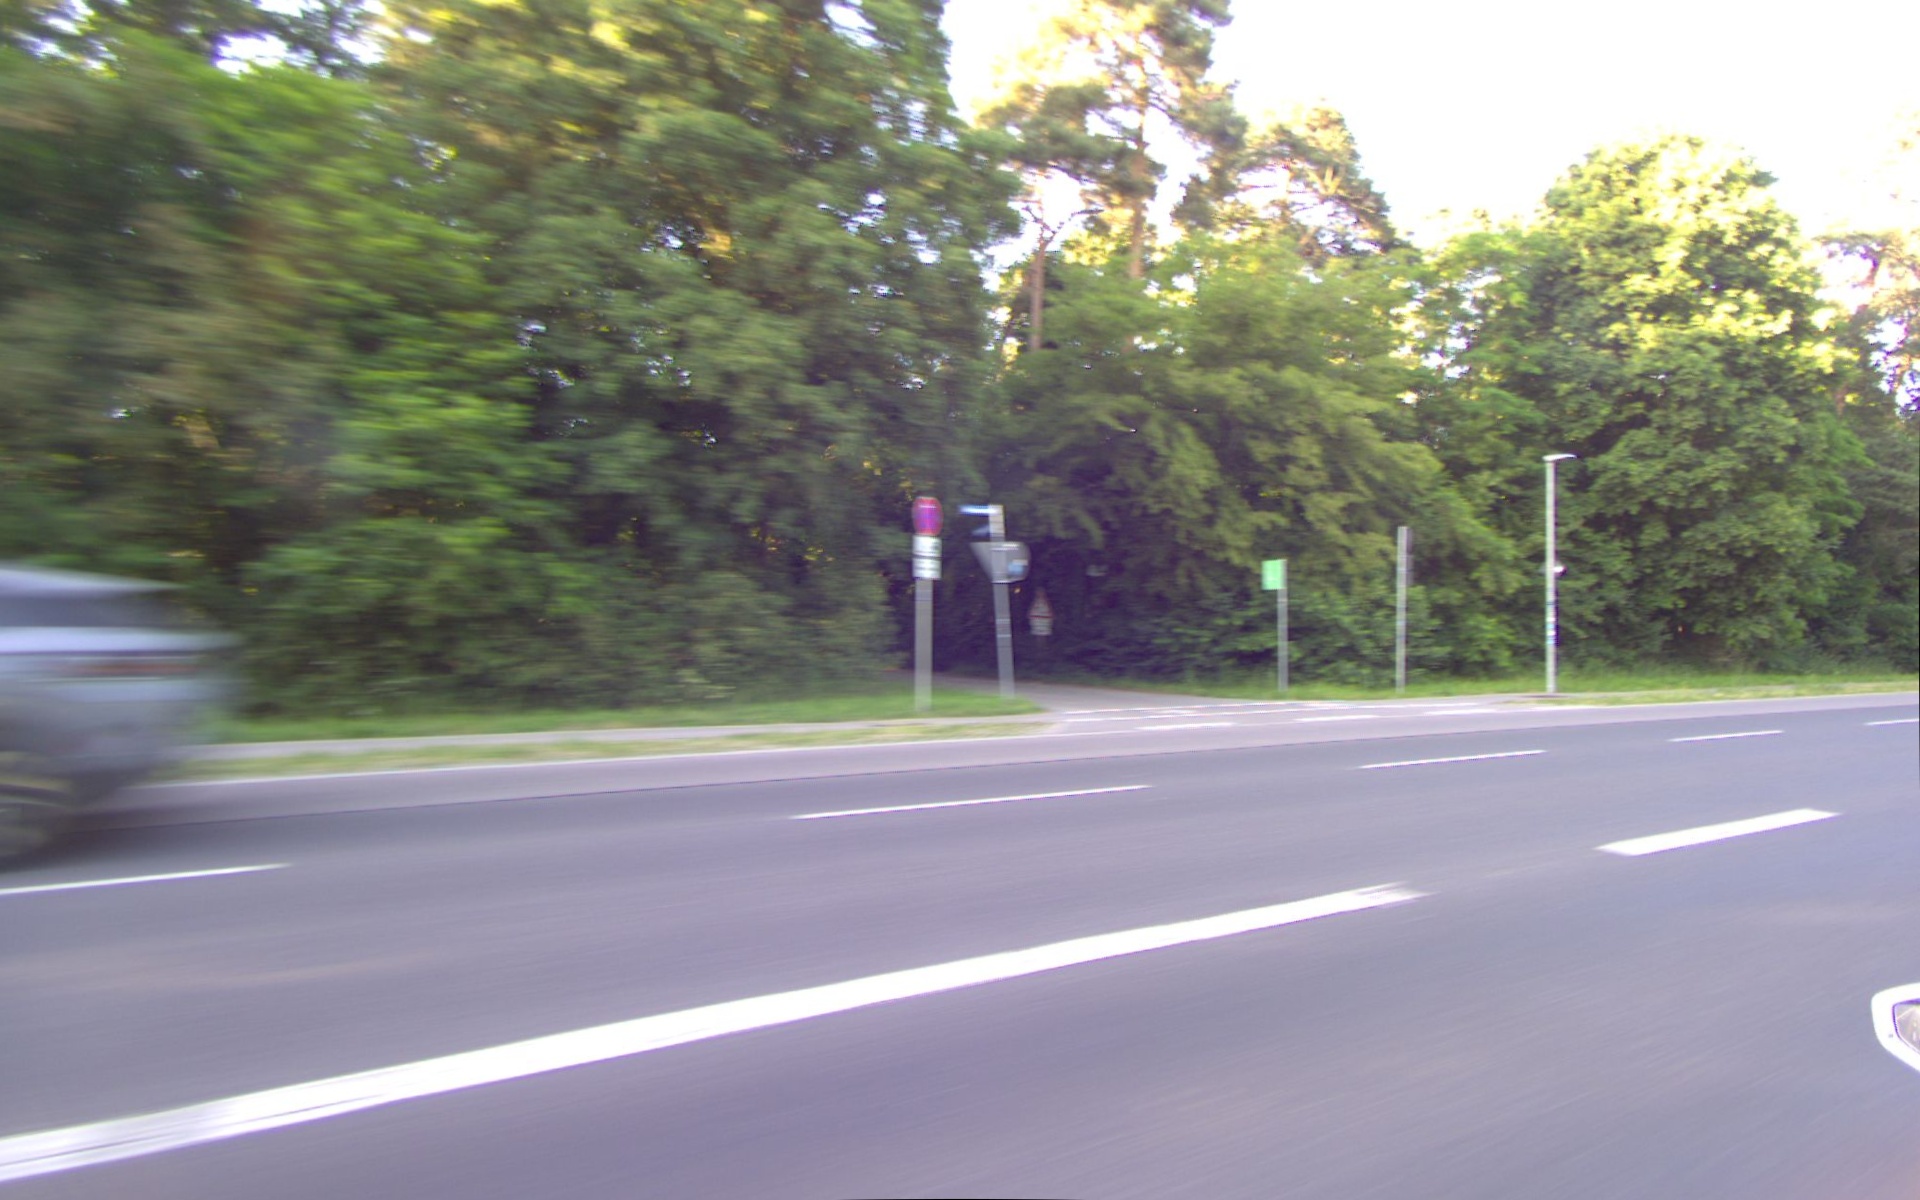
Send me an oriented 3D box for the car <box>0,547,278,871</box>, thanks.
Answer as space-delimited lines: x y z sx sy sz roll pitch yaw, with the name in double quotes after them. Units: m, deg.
-6.315 0.504 5.247 4.398 1.632 1.886 1 1 -31 "car"
